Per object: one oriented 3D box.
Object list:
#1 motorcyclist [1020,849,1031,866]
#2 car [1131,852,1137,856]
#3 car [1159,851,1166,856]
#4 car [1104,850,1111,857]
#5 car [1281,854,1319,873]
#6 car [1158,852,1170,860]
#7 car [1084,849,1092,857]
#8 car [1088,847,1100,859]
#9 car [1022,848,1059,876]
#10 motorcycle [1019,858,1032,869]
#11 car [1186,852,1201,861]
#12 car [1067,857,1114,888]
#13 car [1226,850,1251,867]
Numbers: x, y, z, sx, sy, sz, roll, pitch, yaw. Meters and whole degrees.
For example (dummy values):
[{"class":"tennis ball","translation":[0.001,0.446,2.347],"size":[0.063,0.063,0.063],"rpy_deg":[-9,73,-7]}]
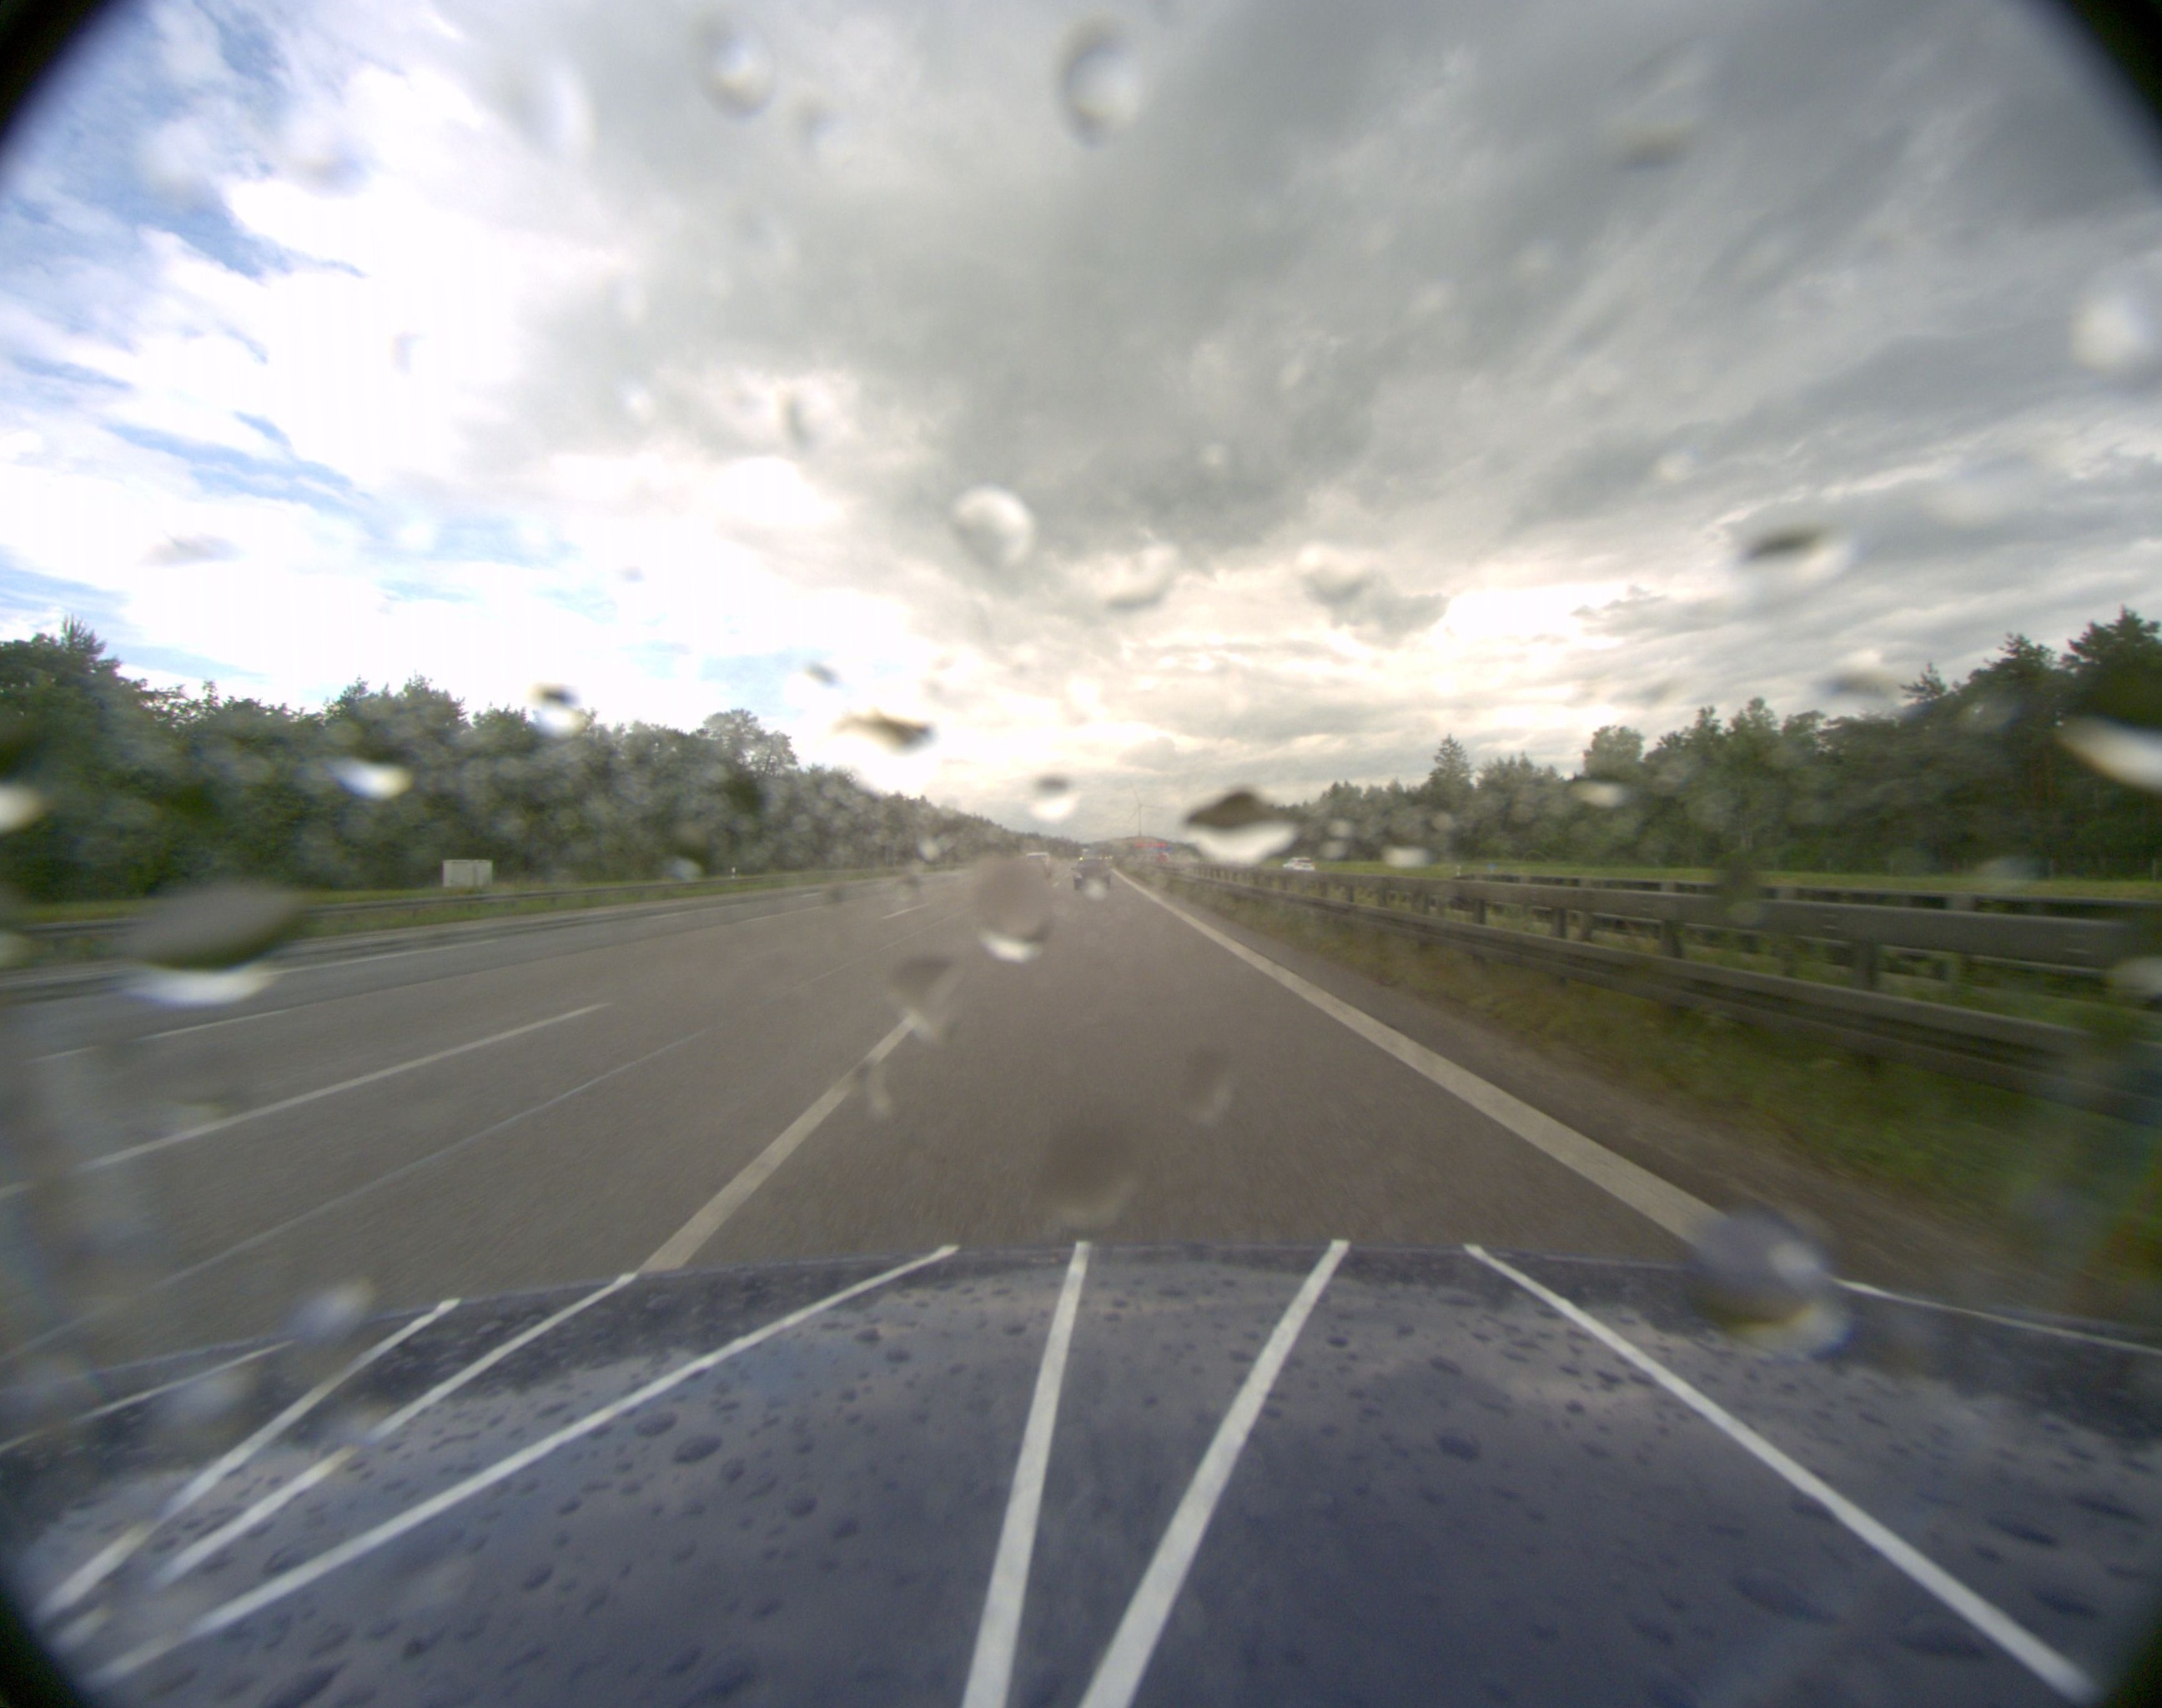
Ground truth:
[{"class":"motorcyclist","translation":[-5.519,0.368,75.308],"size":[0.893,1.605,0.959],"rpy_deg":[-2,0,5]},{"class":"car","translation":[18.306,-0.040,262.394],"size":[1.879,1.423,4.000],"rpy_deg":[-1,0,0]},{"class":"car","translation":[25.079,-0.248,234.523],"size":[1.879,1.463,4.000],"rpy_deg":[0,0,0]},{"class":"car","translation":[7.930,-0.147,228.370],"size":[2.179,2.002,4.362],"rpy_deg":[-3,0,2]},{"class":"car","translation":[18.220,0.764,63.406],"size":[1.854,1.436,4.320],"rpy_deg":[0,0,0]},{"class":"car","translation":[16.809,0.381,154.430],"size":[1.998,1.600,4.608],"rpy_deg":[-2,0,1]},{"class":"car","translation":[1.616,-0.183,172.907],"size":[1.831,1.838,4.000],"rpy_deg":[-3,0,1]},{"class":"car","translation":[2.168,-0.138,129.606],"size":[1.998,2.002,4.000],"rpy_deg":[-3,0,1]},{"class":"car","translation":[-2.902,0.547,55.471],"size":[1.968,1.890,4.883],"rpy_deg":[-1,0,5]},{"class":"motorcycle","translation":[-5.497,0.922,75.451],"size":[1.002,1.025,2.174],"rpy_deg":[-1,0,5]},{"class":"car","translation":[19.720,0.396,132.845],"size":[1.998,1.492,4.608],"rpy_deg":[1,0,1]},{"class":"car","translation":[0.514,0.829,35.524],"size":[1.809,1.321,4.433],"rpy_deg":[0,0,6]},{"class":"car","translation":[18.952,0.501,91.612],"size":[1.998,1.906,4.724],"rpy_deg":[2,0,1]}]
